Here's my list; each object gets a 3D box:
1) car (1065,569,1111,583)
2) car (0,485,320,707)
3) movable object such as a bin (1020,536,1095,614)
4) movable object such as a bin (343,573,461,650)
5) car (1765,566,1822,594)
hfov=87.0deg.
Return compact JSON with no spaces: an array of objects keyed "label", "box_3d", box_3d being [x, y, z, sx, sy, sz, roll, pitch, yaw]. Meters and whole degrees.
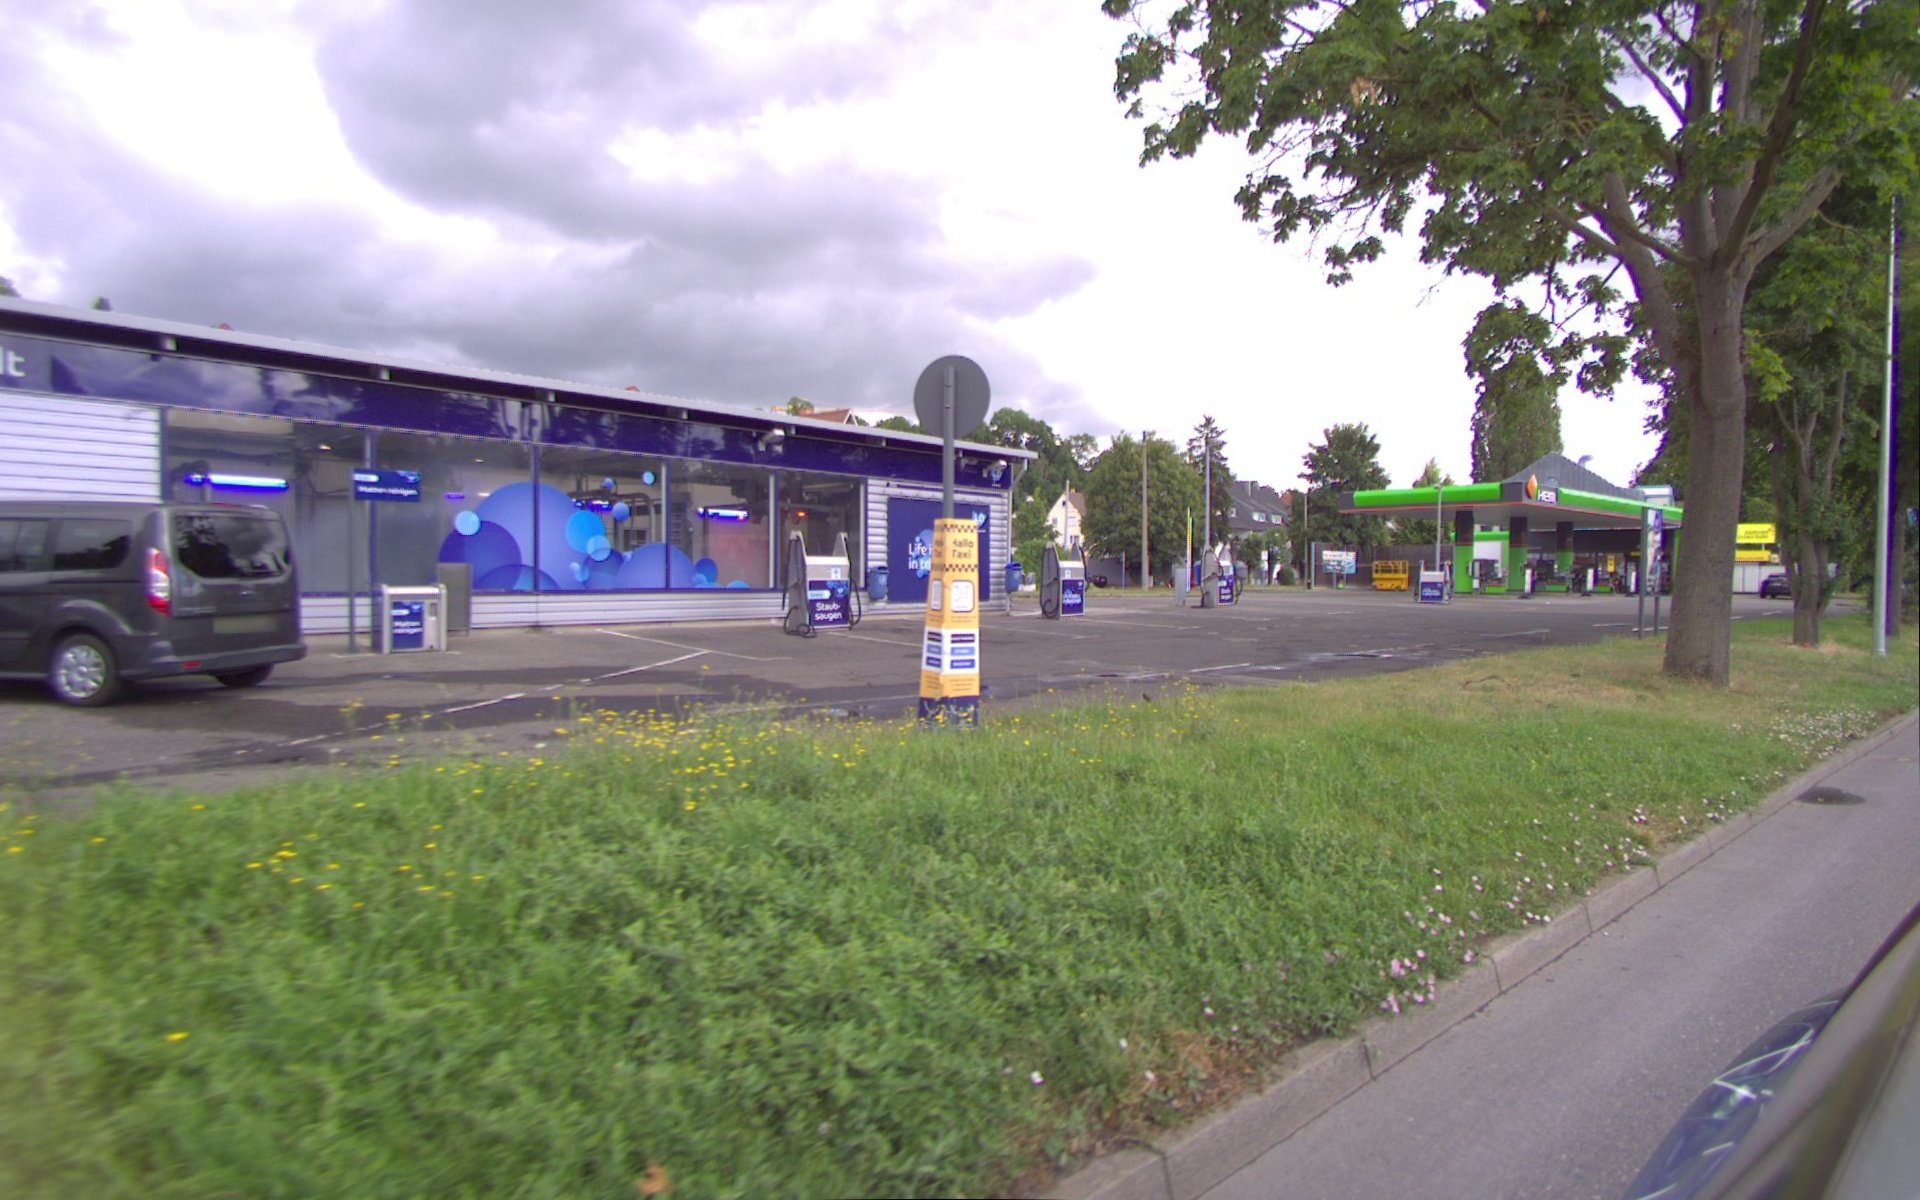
[{"label":"car","box_3d":[12.093,-2.261,95.755,1.813,1.234,3.990,-1,2,-45]},{"label":"car","box_3d":[-8.676,-0.095,9.599,4.309,1.844,1.748,1,2,7]},{"label":"movable object such as a bin","box_3d":[2.368,-0.614,24.667,1.432,1.841,1.159,-1,2,-44]},{"label":"movable object such as a bin","box_3d":[-7.662,0.129,13.891,1.169,0.988,1.159,-1,2,-44]},{"label":"car","box_3d":[53.241,-1.287,64.653,4.250,1.658,1.999,-1,5,-40]}]
